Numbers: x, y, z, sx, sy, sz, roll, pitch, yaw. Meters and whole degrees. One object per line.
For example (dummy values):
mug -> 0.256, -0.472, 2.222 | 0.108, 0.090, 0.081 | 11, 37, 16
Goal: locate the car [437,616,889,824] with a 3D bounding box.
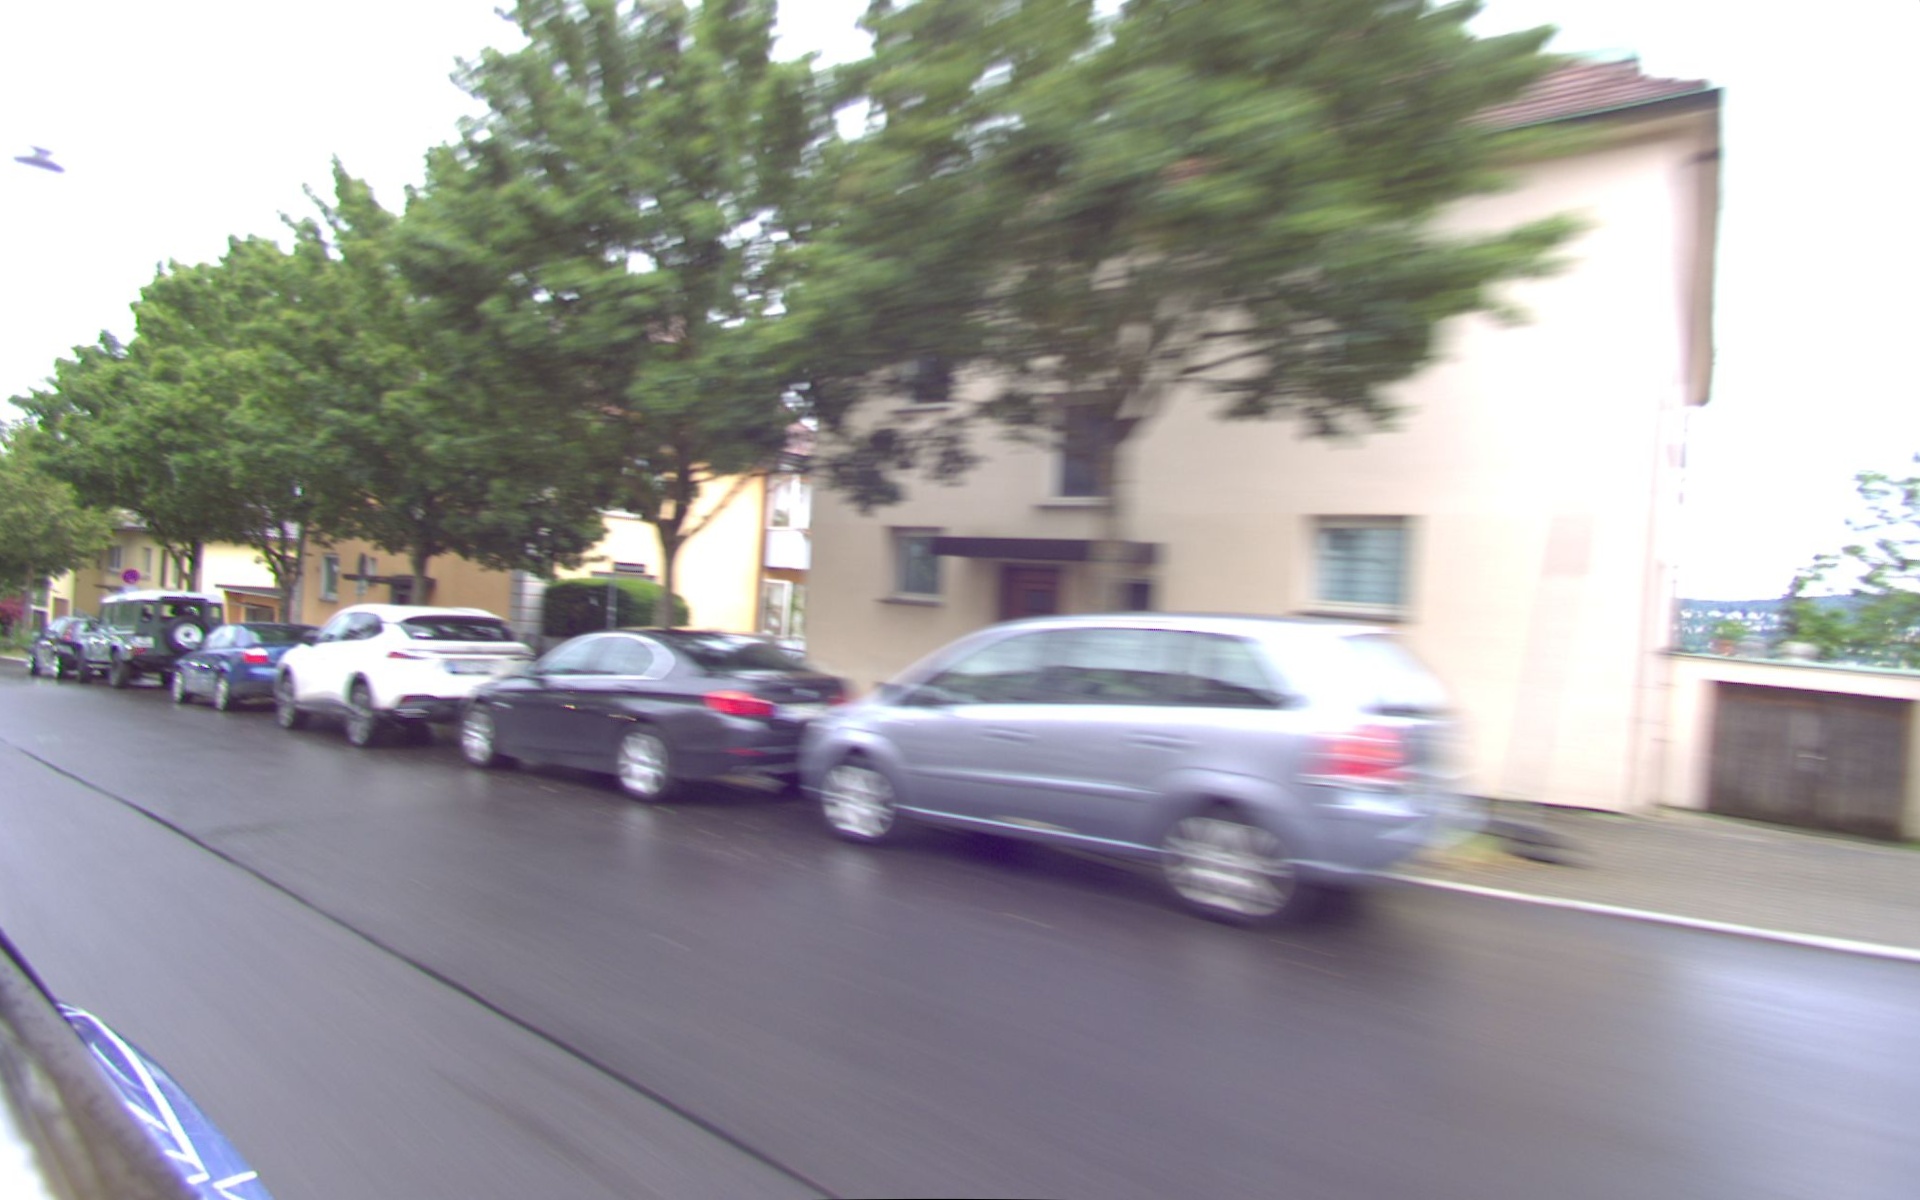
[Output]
car -> -3.054, 0.969, 9.824 | 4.734, 1.520, 1.804 | 0, -3, 39

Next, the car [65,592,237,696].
car -> -17.608, 0.939, 21.964 | 4.556, 2.027, 1.800 | 0, -5, 38

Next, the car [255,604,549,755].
car -> -7.330, 0.941, 13.097 | 4.506, 1.626, 1.789 | -1, -4, 40

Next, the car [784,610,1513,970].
car -> 0.968, 0.903, 6.485 | 4.291, 1.557, 1.700 | 0, -4, 40

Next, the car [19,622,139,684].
car -> -21.880, 1.300, 25.099 | 3.535, 1.384, 1.524 | 0, -5, 38

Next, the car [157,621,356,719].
car -> -11.969, 1.136, 17.117 | 4.264, 1.453, 1.602 | -1, -5, 40
